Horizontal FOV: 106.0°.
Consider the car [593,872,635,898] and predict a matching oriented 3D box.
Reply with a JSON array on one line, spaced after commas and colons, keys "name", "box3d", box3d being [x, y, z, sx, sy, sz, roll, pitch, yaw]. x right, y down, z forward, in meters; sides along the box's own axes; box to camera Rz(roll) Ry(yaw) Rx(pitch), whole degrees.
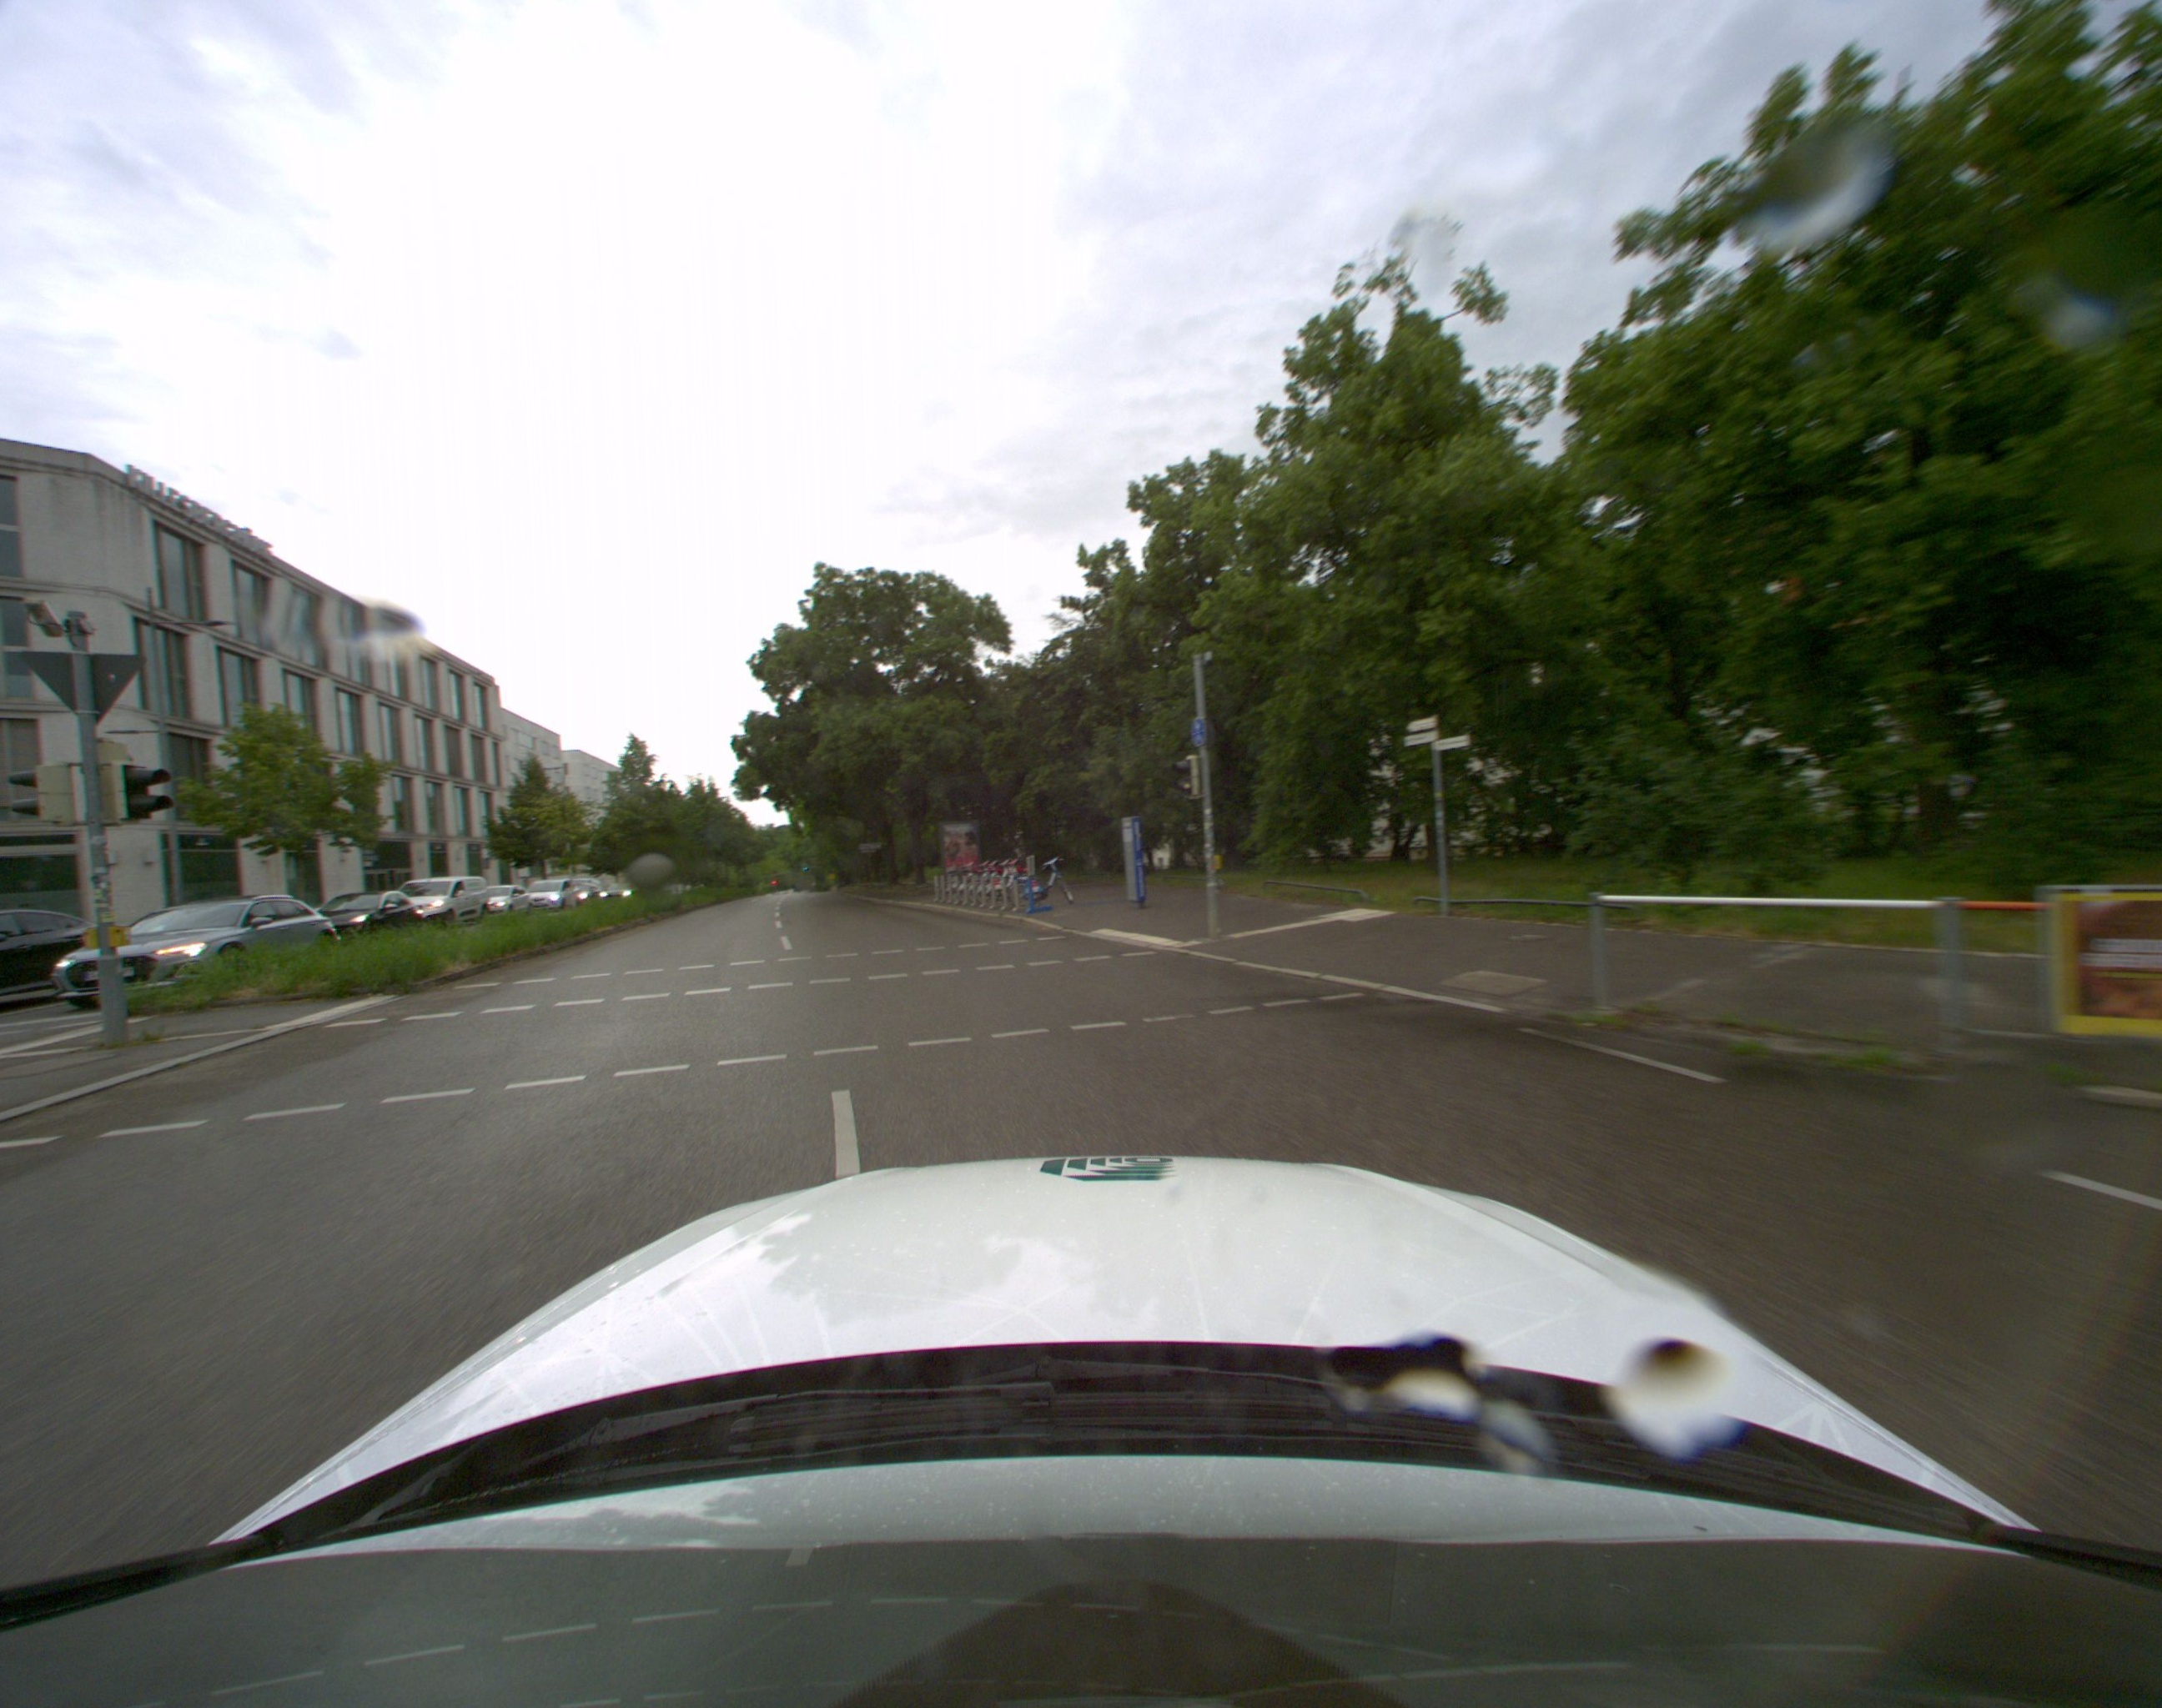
[{"name": "car", "box3d": [-31.958, 2.117, 55.837, 1.700, 1.581, 3.991, -3, 0, -19]}]

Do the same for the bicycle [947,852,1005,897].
[{"name": "bicycle", "box3d": [-3.095, 0.592, 23.990, 1.493, 1.131, 0.552, -7, 1, -26]}]

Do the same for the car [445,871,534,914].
[{"name": "car", "box3d": [-24.951, 1.578, 34.513, 1.749, 1.467, 4.035, -5, 2, -18]}]

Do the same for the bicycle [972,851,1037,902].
[{"name": "bicycle", "box3d": [-2.007, 0.584, 21.389, 1.493, 1.131, 0.552, -7, 1, -26]}]

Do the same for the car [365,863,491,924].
[{"name": "car", "box3d": [-22.974, 1.317, 28.898, 1.849, 1.802, 4.744, -2, 1, -18]}]

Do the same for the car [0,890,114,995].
[{"name": "car", "box3d": [-17.655, 1.489, 12.421, 1.832, 1.519, 4.037, -5, 2, -20]}]

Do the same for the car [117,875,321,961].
[{"name": "car", "box3d": [-19.962, 1.395, 19.106, 1.655, 1.576, 3.678, -5, 2, -19]}]

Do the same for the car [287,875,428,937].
[{"name": "car", "box3d": [-21.415, 1.475, 24.298, 1.720, 1.460, 3.726, -5, 2, -19]}]

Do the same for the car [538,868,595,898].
[{"name": "car", "box3d": [-35.247, 1.996, 55.966, 2.129, 1.816, 5.224, -3, -1, -20]}]

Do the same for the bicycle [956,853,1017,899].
[{"name": "bicycle", "box3d": [-2.661, 0.611, 22.970, 1.493, 1.131, 0.552, -7, 1, -26]}]

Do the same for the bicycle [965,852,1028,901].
[{"name": "bicycle", "box3d": [-2.296, 0.599, 22.142, 1.493, 1.131, 0.552, -7, 1, -26]}]

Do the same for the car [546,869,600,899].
[{"name": "car", "box3d": [-29.006, 1.651, 46.613, 1.646, 1.410, 3.972, -5, 2, -18]}]

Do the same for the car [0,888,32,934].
[{"name": "car", "box3d": [-34.304, 1.829, 24.383, 3.316, 1.376, 1.548, -4, 1, -45]}]

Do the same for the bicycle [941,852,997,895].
[{"name": "bicycle", "box3d": [-3.416, 0.582, 24.794, 1.493, 1.131, 0.552, -7, 1, -26]}]

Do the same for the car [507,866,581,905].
[{"name": "car", "box3d": [-26.924, 1.530, 41.028, 1.834, 1.600, 4.646, -5, 2, -18]}]

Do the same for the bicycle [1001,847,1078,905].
[{"name": "bicycle", "box3d": [-0.963, 0.502, 18.950, 1.604, 1.131, 0.552, -7, 1, -26]}]

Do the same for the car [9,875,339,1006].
[{"name": "car", "box3d": [-14.678, 1.261, 13.598, 1.855, 1.575, 4.137, -3, 2, -20]}]
